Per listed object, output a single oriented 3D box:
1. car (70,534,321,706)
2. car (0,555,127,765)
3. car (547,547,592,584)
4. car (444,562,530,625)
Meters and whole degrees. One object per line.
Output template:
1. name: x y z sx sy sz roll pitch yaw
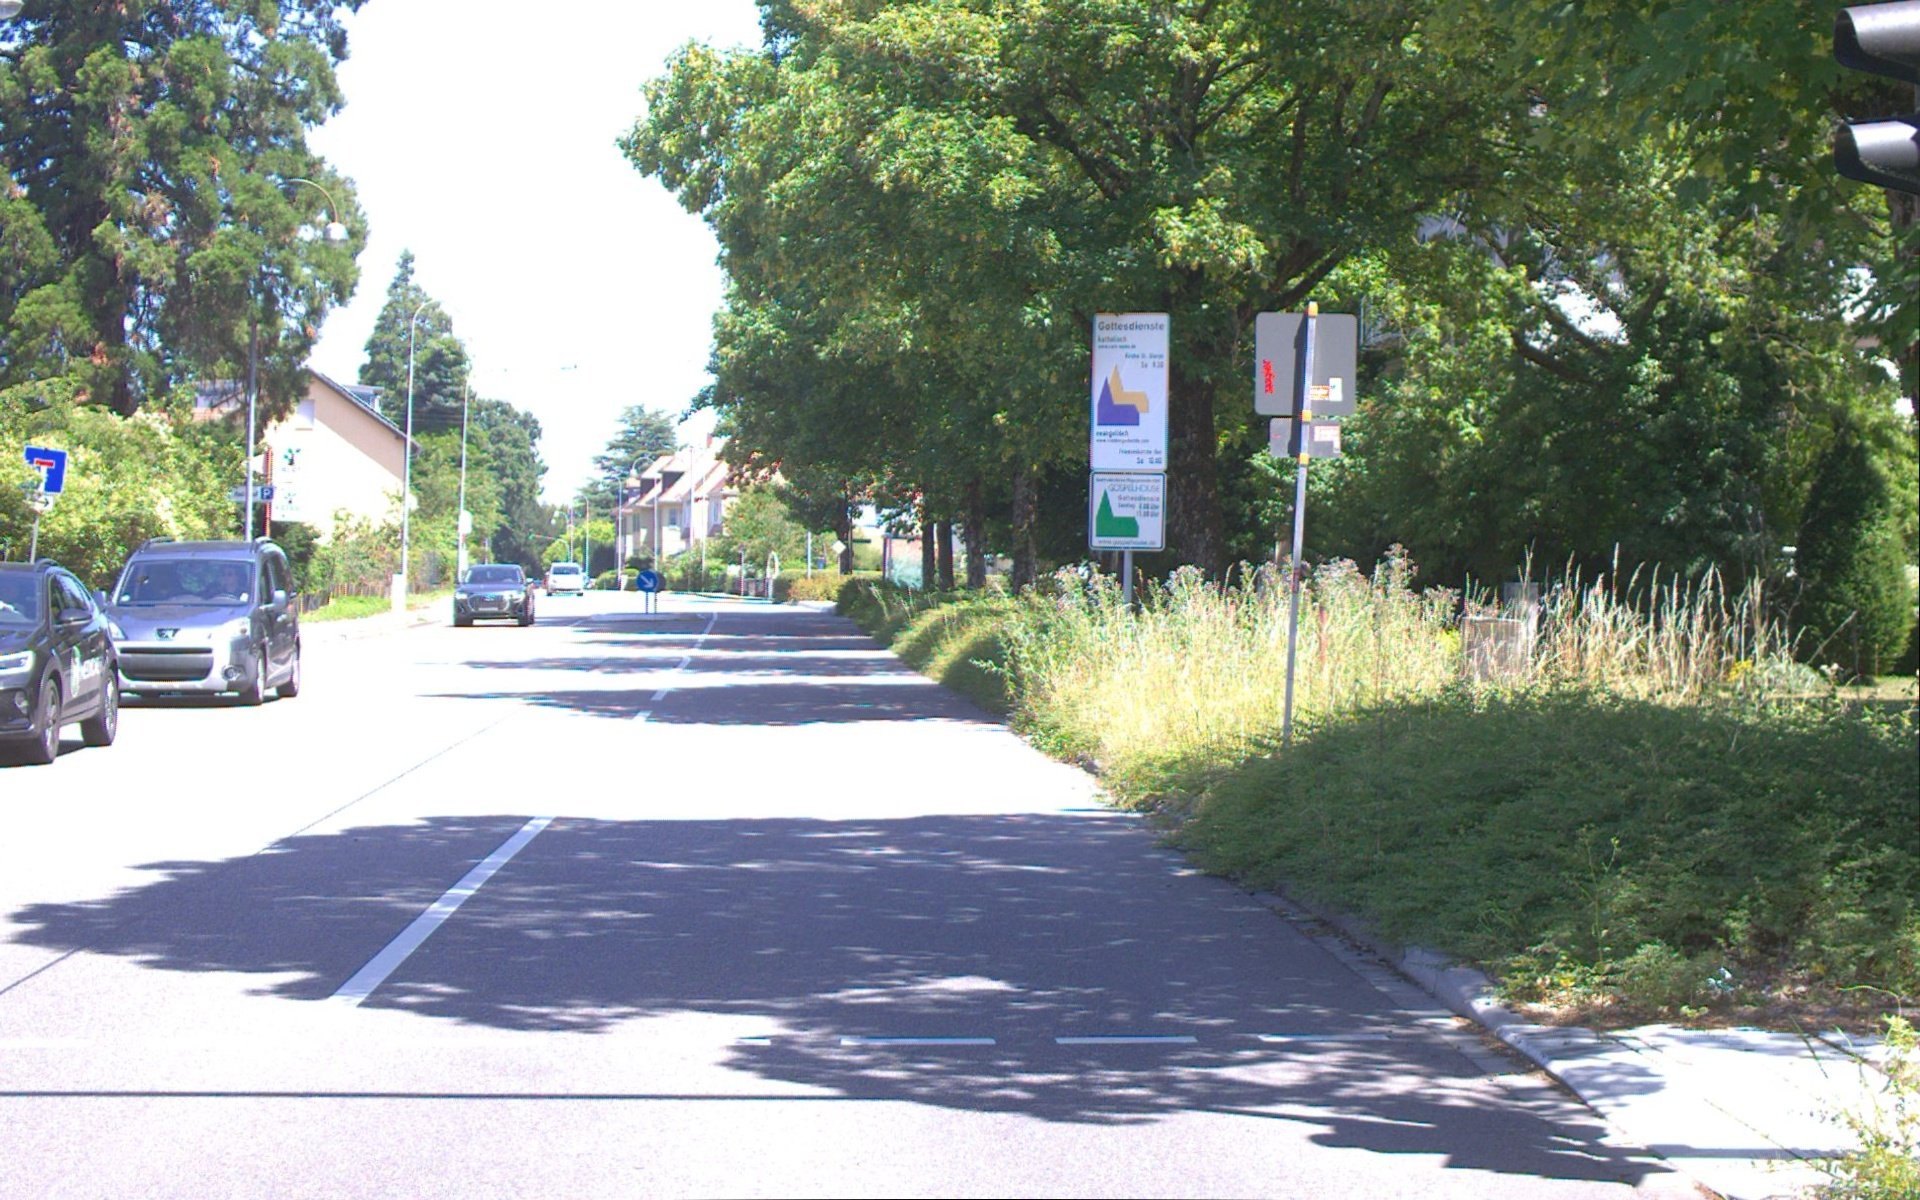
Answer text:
1. car: -8.294 0.181 37.667 1.811 1.756 4.570 0 1 -1
2. car: -7.714 0.405 26.556 1.869 1.501 4.053 0 1 -5
3. car: -19.364 -1.711 170.629 1.912 1.683 4.126 3 0 -4
4. car: -11.937 -0.187 86.926 1.793 1.531 4.316 0 1 -3
